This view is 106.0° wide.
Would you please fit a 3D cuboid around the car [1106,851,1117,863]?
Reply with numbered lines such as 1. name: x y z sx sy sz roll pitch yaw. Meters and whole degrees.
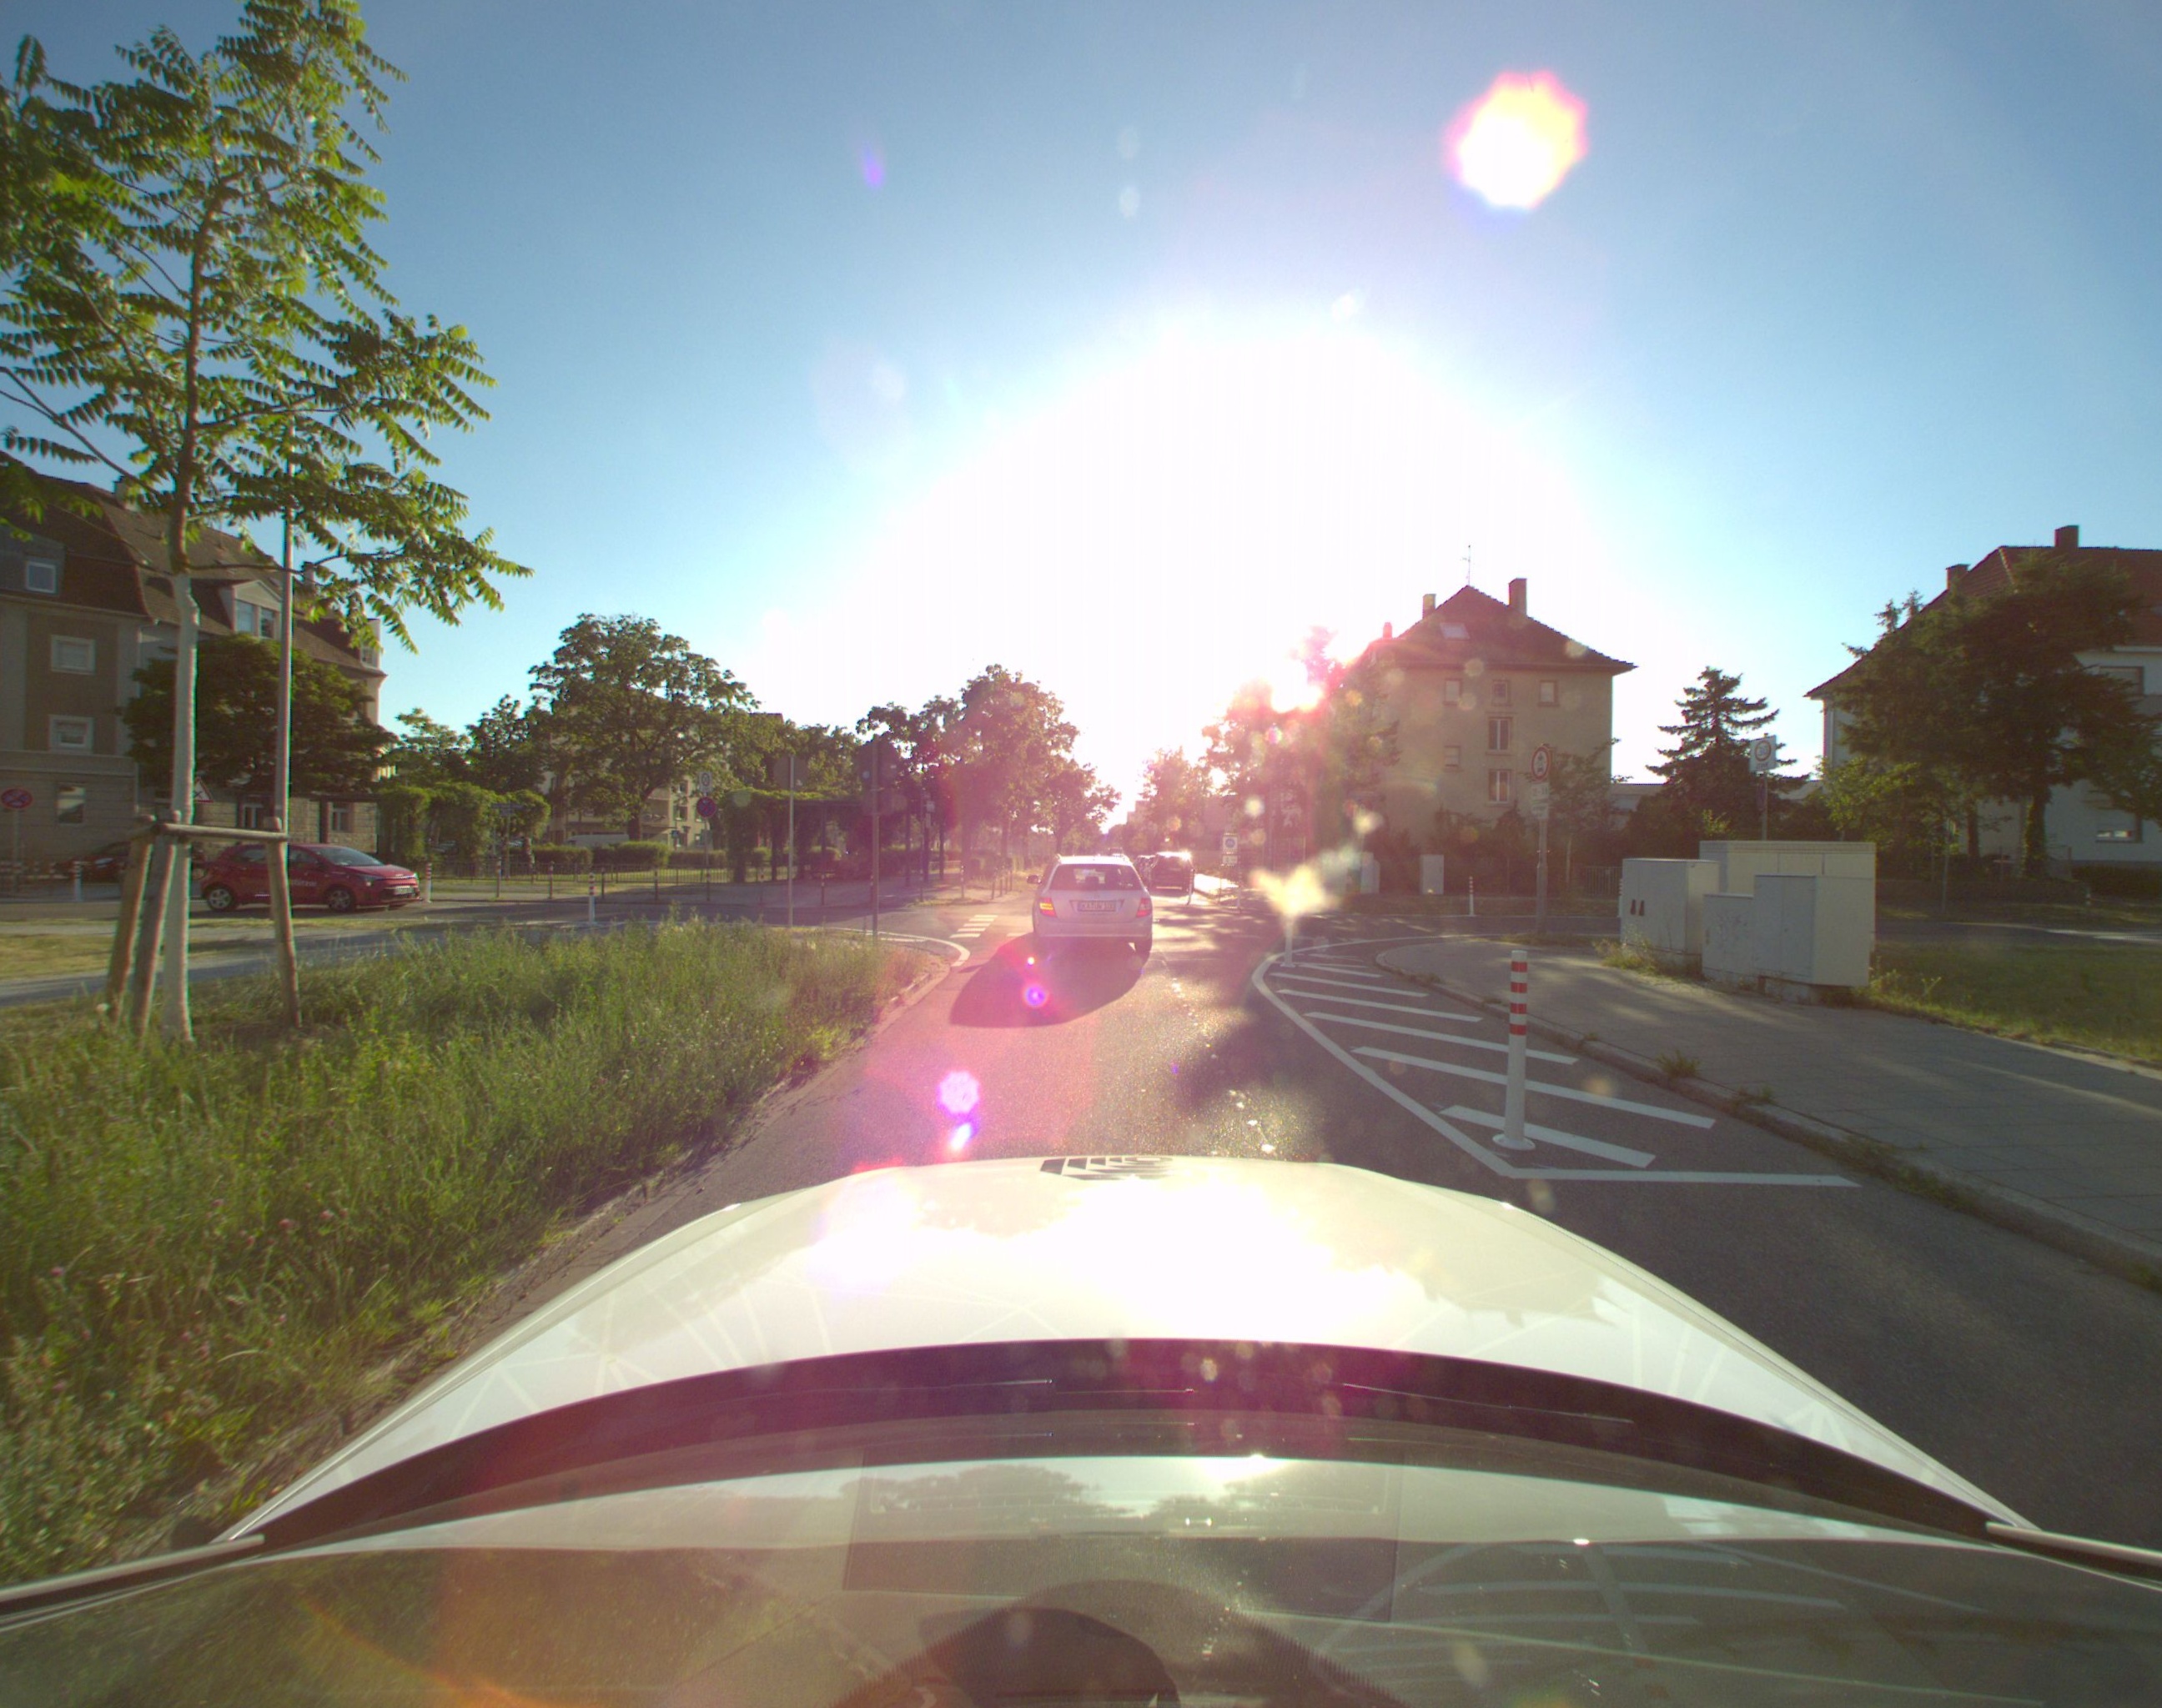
1. car: 5.688 0.561 150.170 1.986 2.123 4.002 1 0 2

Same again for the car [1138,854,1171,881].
1. car: 4.415 0.780 49.350 1.724 1.518 3.760 1 0 1

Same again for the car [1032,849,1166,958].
1. car: 0.123 0.671 13.219 1.813 1.473 4.210 0 0 -4

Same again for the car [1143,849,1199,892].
1. car: 3.851 0.689 35.353 1.812 1.641 4.214 3 0 -1

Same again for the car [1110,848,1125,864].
1. car: 4.910 0.247 110.986 1.986 2.123 4.002 1 0 2

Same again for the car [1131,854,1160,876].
1. car: 4.632 0.798 58.731 1.760 1.526 3.771 0 0 -1

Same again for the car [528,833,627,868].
1. car: -41.200 -0.277 66.926 6.706 2.745 2.297 1 0 -28

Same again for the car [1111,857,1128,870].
1. car: 4.362 1.065 93.298 1.752 1.518 3.758 1 0 -1

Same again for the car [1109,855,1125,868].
1. car: 4.321 0.837 97.558 1.725 1.518 3.758 1 0 -1

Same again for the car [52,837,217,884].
1. car: -38.576 0.256 33.362 1.799 1.741 4.090 3 0 3

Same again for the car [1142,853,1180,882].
1. car: 4.316 0.711 44.224 1.759 1.526 3.773 0 0 1

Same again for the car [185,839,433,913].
1. car: -17.000 0.462 18.075 3.749 1.526 1.770 0 0 -1

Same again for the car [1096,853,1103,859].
1. car: 5.416 0.580 240.810 1.859 1.618 4.000 1 0 0
